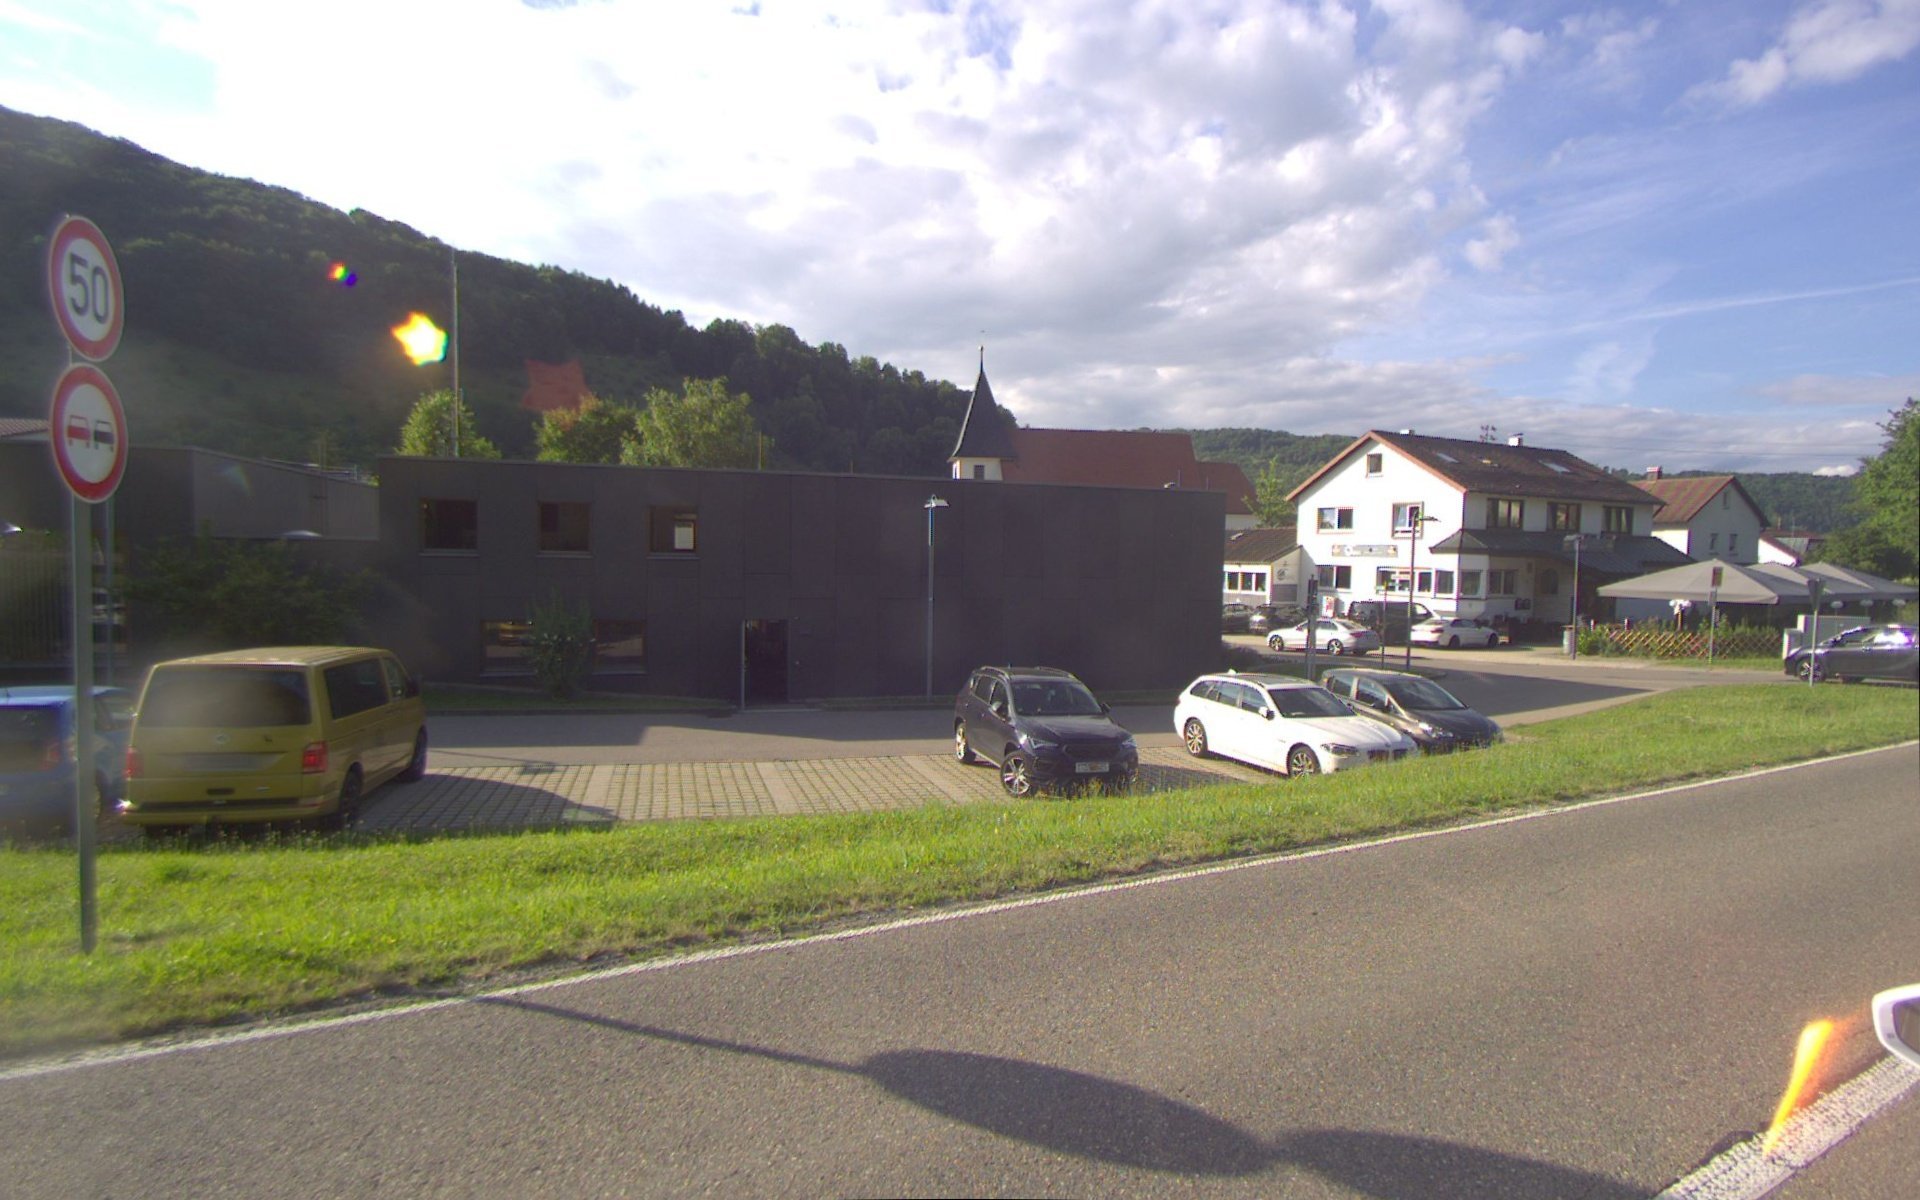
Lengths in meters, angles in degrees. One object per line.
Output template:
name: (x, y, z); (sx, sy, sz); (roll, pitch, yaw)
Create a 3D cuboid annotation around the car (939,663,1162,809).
car: (1.213, 1.939, 15.438); (1.968, 1.659, 4.022); (2, 0, -18)

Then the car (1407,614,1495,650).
car: (21.560, 1.399, 44.111); (3.954, 1.469, 1.548); (2, 0, -31)

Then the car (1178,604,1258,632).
car: (13.609, 0.951, 52.975); (3.952, 1.372, 1.833); (2, 0, -30)

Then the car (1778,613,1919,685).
car: (23.511, 1.223, 25.446); (1.727, 1.661, 3.978); (2, 0, -23)

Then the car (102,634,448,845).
car: (-7.943, 1.468, 12.273); (1.966, 1.893, 4.612); (2, 0, -14)

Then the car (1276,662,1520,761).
car: (7.793, 1.937, 18.285); (1.735, 1.327, 3.979); (2, 0, -22)

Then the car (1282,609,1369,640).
car: (17.555, 1.186, 48.226); (3.955, 1.372, 1.831); (2, 0, -31)

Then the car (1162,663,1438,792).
car: (5.414, 1.972, 16.798); (1.851, 1.513, 4.810); (2, 0, -18)

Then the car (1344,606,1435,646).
car: (19.887, 1.202, 46.455); (3.954, 1.684, 1.877); (2, 0, -31)

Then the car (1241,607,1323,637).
car: (16.298, 1.109, 50.802); (3.955, 1.372, 1.831); (2, 0, -31)

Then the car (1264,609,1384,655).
car: (14.802, 1.283, 41.043); (1.792, 1.661, 4.422); (2, 0, -33)

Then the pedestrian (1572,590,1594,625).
pedestrian: (27.830, 0.340, 44.897); (0.583, 1.523, 0.605); (2, 0, -30)

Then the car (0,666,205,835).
car: (-10.619, 1.666, 11.961); (1.608, 1.492, 3.489); (2, 0, -20)
